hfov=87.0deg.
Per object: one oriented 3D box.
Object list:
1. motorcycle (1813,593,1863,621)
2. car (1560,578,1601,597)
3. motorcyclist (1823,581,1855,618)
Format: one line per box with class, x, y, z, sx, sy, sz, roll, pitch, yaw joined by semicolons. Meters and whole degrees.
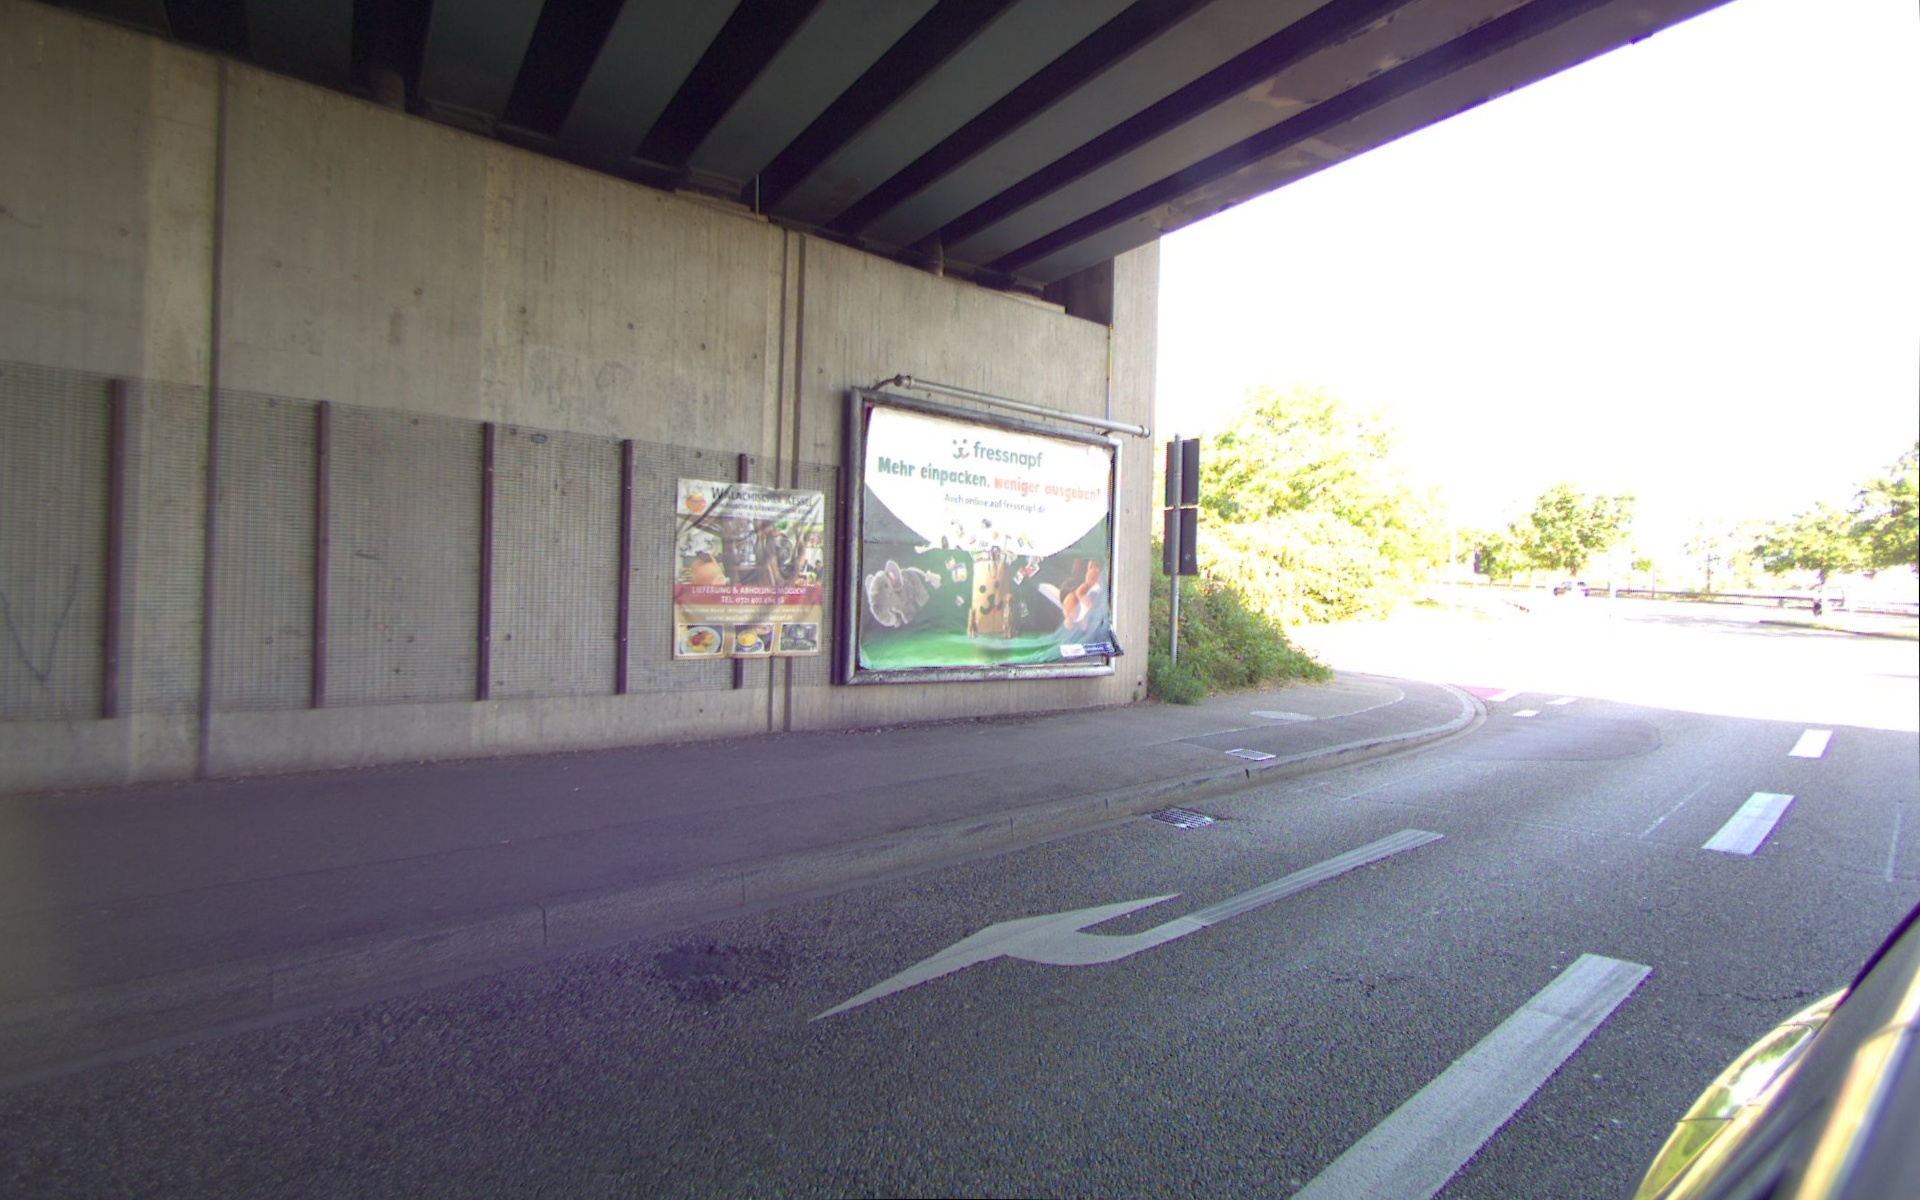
motorcycle;55.193;0.412;63.652;1.093;1.681;3.140;0;0;15
car;64.796;-1.346;105.757;1.799;1.759;4.522;3;2;7
motorcyclist;55.201;-0.026;63.583;1.093;2.269;1.177;0;0;16
